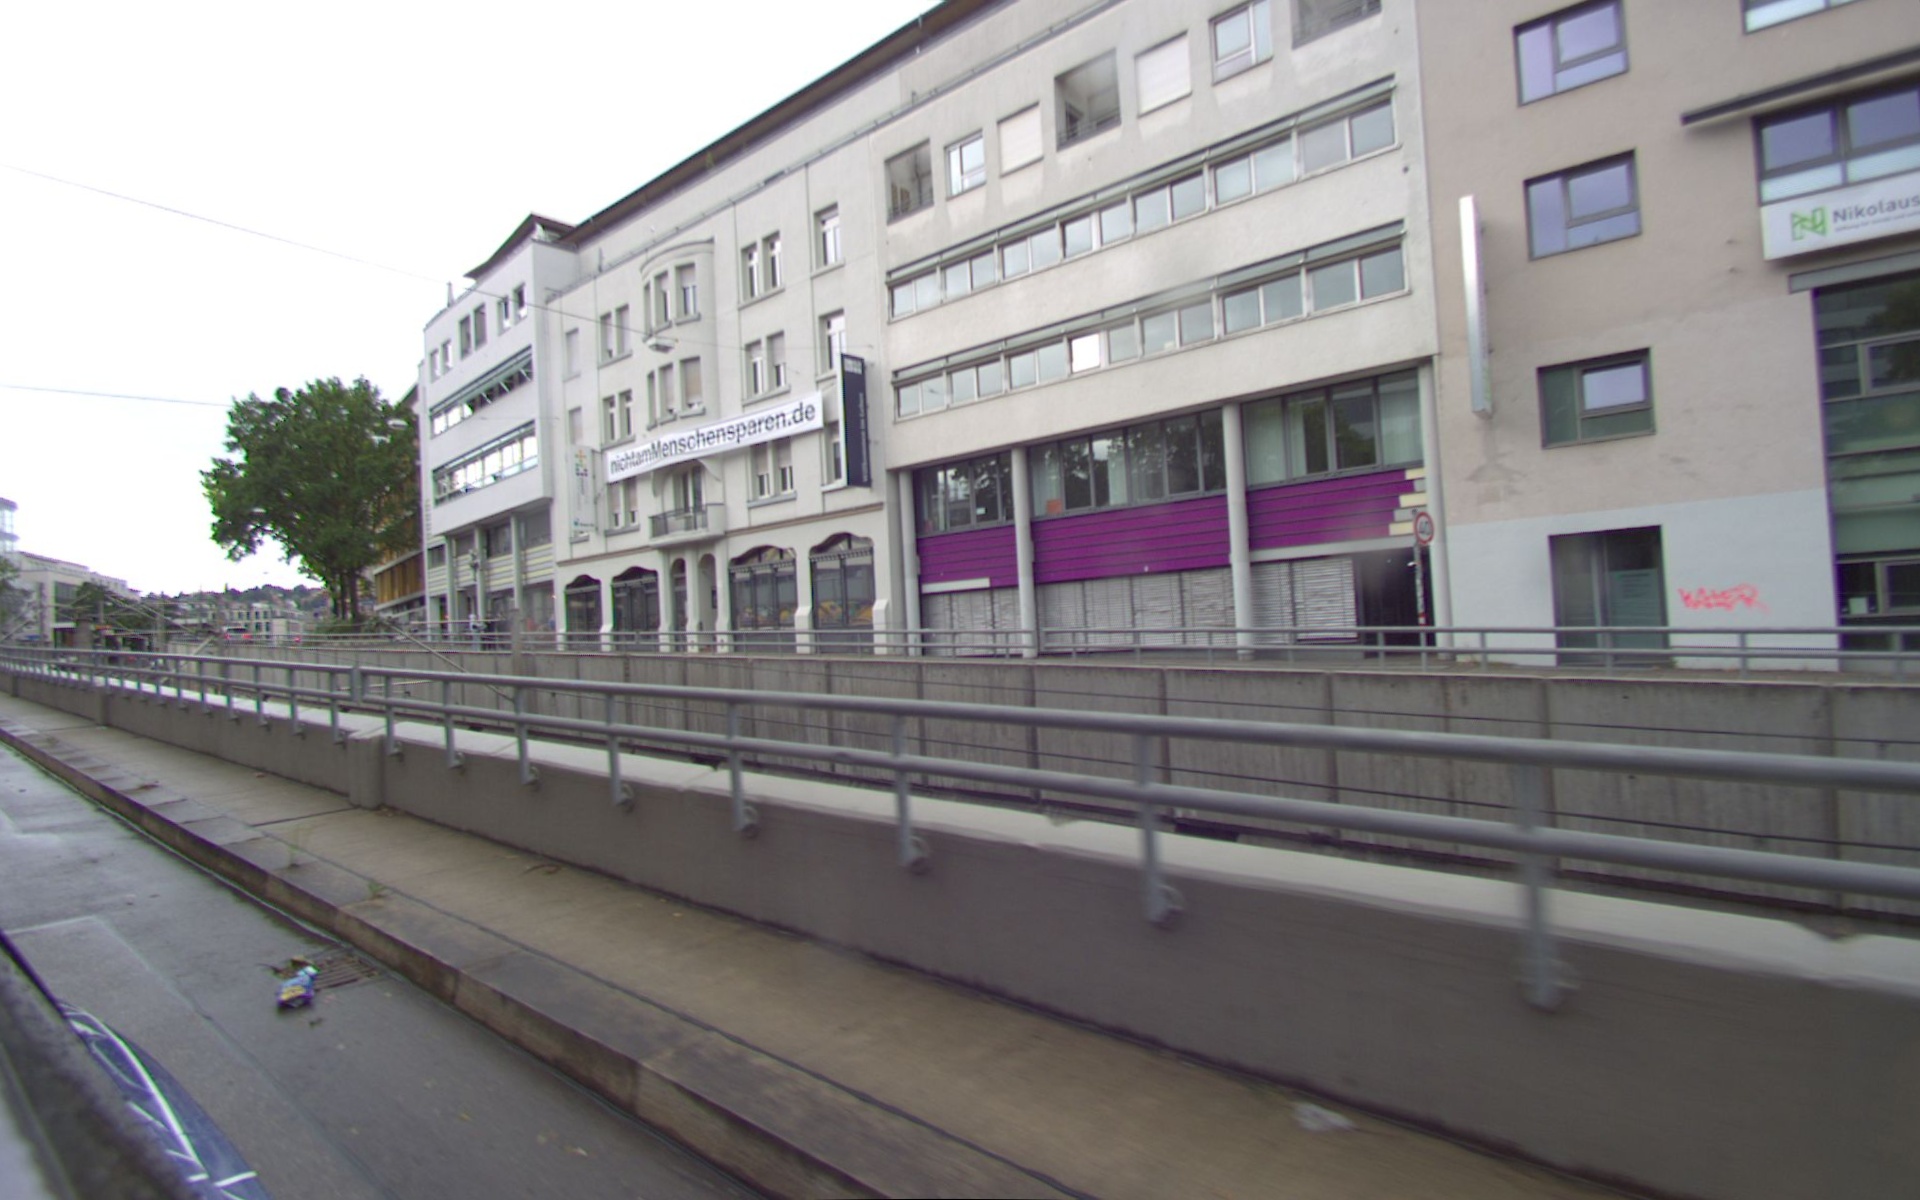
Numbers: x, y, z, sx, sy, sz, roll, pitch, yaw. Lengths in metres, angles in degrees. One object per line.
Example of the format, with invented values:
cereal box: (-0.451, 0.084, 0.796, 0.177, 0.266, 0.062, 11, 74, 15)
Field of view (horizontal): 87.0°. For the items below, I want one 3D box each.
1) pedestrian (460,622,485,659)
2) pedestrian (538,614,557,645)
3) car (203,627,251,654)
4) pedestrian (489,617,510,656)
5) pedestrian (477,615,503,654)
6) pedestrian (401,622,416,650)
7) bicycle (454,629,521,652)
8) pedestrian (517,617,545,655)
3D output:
pedestrian: (-22.222, 1.831, 46.158, 0.784, 1.655, 0.674, -2, -1, -2)
pedestrian: (-19.560, 1.417, 48.006, 0.600, 1.430, 0.674, -1, -2, -44)
car: (-50.034, 2.752, 69.006, 4.577, 1.726, 1.816, -3, -2, 43)
pedestrian: (-21.132, 1.679, 46.473, 0.601, 1.735, 0.673, -2, -1, 1)
pedestrian: (-22.098, 1.632, 47.572, 0.937, 1.798, 0.667, -3, -1, 27)
pedestrian: (-36.478, 2.375, 66.943, 0.657, 1.863, 0.831, 2, -4, -39)
bicycle: (-24.069, 2.058, 51.484, 1.673, 1.051, 4.525, -1, -1, -44)
pedestrian: (-18.838, 1.590, 44.436, 0.937, 1.628, 0.667, -3, -1, 27)
